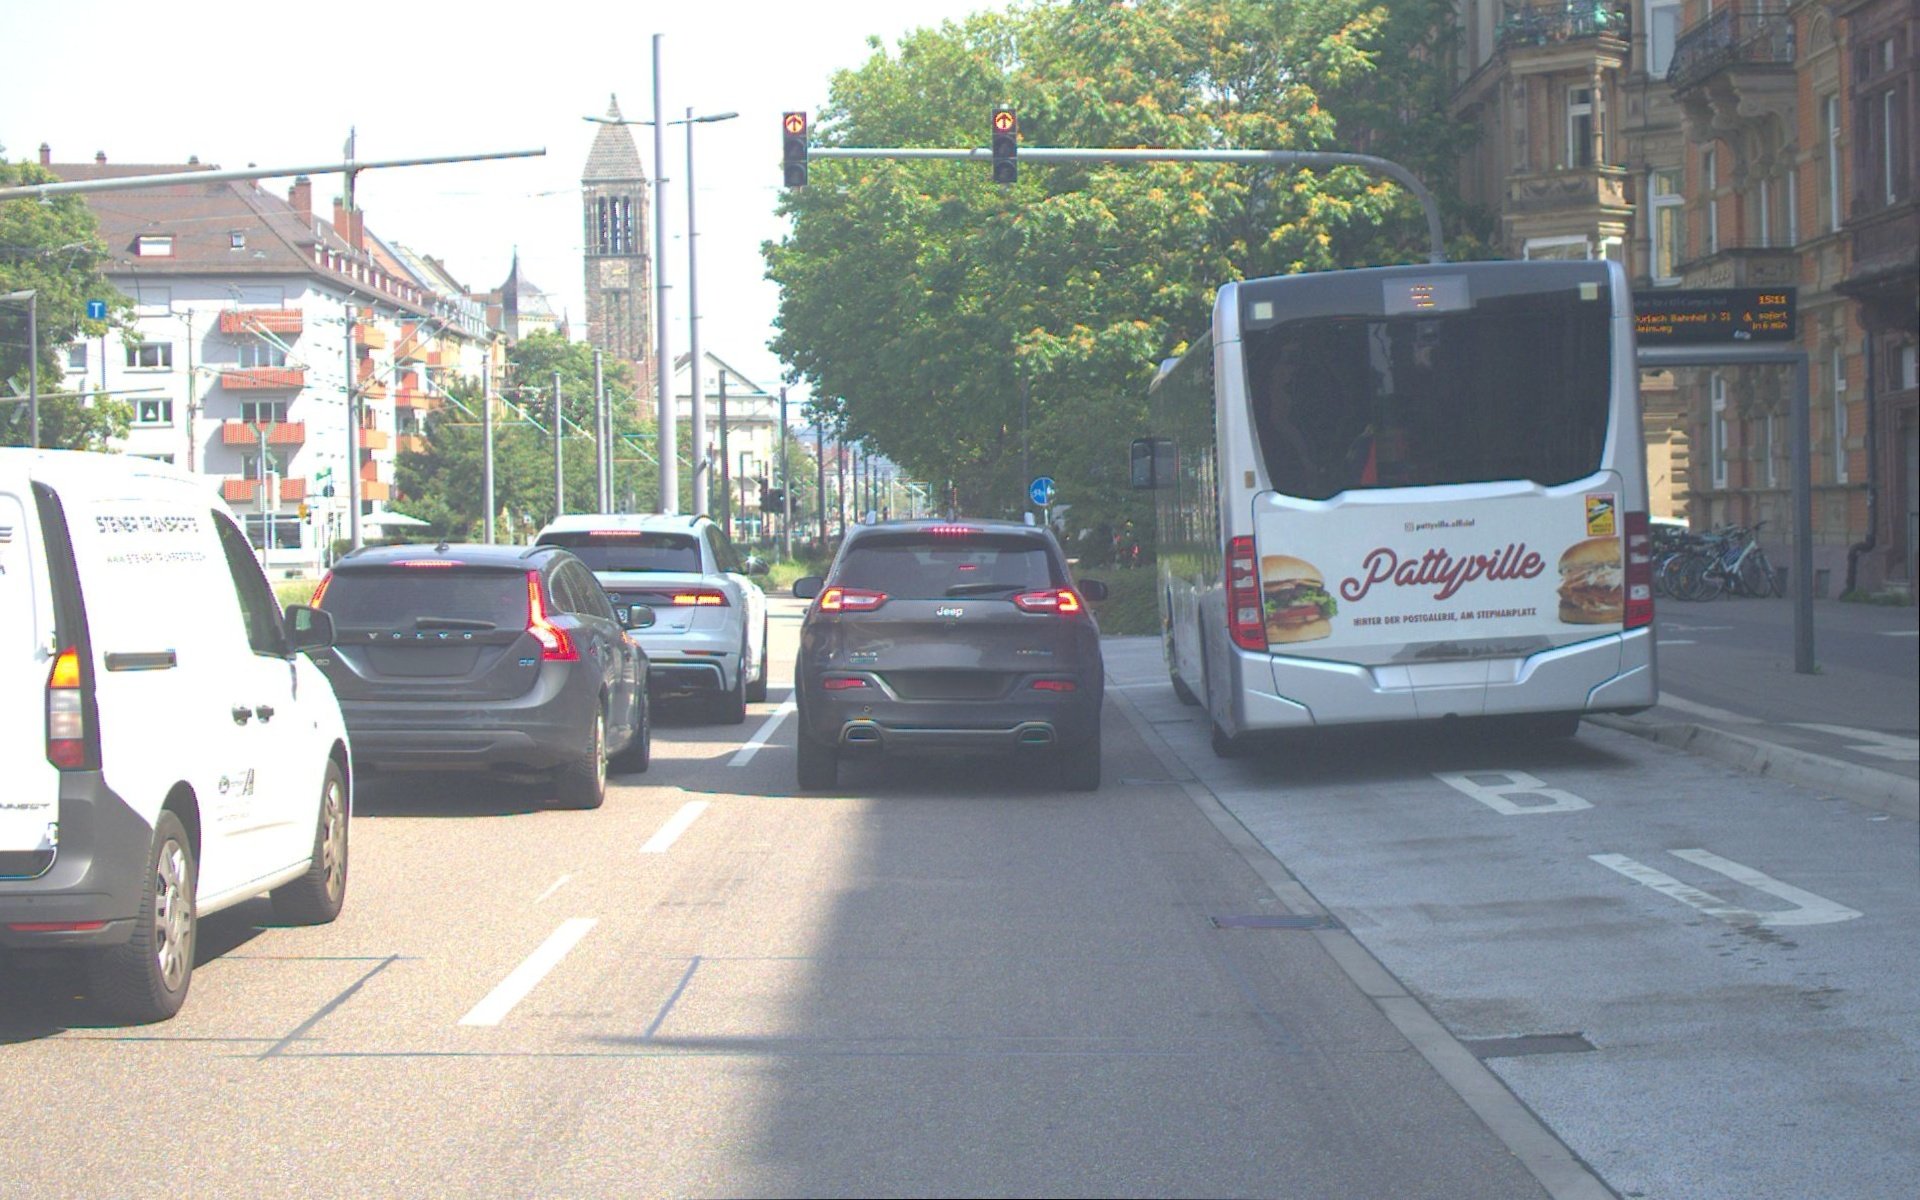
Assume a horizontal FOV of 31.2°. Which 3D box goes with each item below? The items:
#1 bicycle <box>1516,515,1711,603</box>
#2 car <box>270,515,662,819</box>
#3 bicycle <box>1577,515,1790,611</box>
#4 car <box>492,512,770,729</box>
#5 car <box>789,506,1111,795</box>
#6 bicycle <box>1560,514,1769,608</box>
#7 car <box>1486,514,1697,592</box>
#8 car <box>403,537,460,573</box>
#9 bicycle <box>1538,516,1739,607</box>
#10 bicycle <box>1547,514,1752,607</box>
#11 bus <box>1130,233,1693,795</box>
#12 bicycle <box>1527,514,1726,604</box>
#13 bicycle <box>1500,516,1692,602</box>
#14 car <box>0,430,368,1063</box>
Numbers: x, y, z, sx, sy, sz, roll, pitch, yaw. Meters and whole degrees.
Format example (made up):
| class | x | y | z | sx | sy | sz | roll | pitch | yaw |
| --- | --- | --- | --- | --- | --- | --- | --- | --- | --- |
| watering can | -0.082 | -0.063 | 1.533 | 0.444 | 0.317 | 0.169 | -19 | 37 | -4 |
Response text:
| class | x | y | z | sx | sy | sz | roll | pitch | yaw |
| --- | --- | --- | --- | --- | --- | --- | --- | --- | --- |
| bicycle | 10.738 | -0.681 | 56.560 | 3.003 | 1.368 | 0.947 | -1 | 1 | -1 |
| car | -2.818 | 0.309 | 20.472 | 1.747 | 1.609 | 4.309 | 0 | 1 | 0 |
| bicycle | 10.886 | -0.563 | 51.756 | 2.993 | 1.366 | 0.871 | -1 | 1 | -1 |
| car | -2.617 | 0.103 | 28.280 | 1.902 | 1.646 | 4.309 | 0 | 1 | 0 |
| car | -0.035 | 0.240 | 21.881 | 1.832 | 1.646 | 4.308 | 0 | 1 | 1 |
| bicycle | 10.783 | -0.597 | 52.661 | 2.993 | 1.366 | 0.871 | -1 | 1 | -1 |
| car | 13.065 | -0.976 | 71.232 | 3.931 | 1.515 | 1.683 | -1 | 1 | -7 |
| car | -23.103 | -1.982 | 150.438 | 1.746 | 1.430 | 4.573 | -2 | 2 | 0 |
| bicycle | 10.747 | -0.622 | 54.522 | 2.993 | 1.366 | 0.871 | -1 | 1 | -1 |
| bicycle | 10.733 | -0.616 | 53.574 | 2.993 | 1.366 | 0.871 | -1 | 1 | -1 |
| bus | 2.913 | -0.612 | 25.918 | 2.743 | 3.096 | 11.956 | -3 | 1 | 1 |
| bicycle | 10.737 | -0.663 | 55.465 | 3.003 | 1.368 | 0.947 | -1 | 1 | -1 |
| bicycle | 10.641 | -0.696 | 57.570 | 3.003 | 1.368 | 0.947 | -1 | 1 | -1 |
| car | -3.309 | 0.375 | 11.961 | 1.747 | 1.814 | 4.239 | 0 | 1 | 0 |
